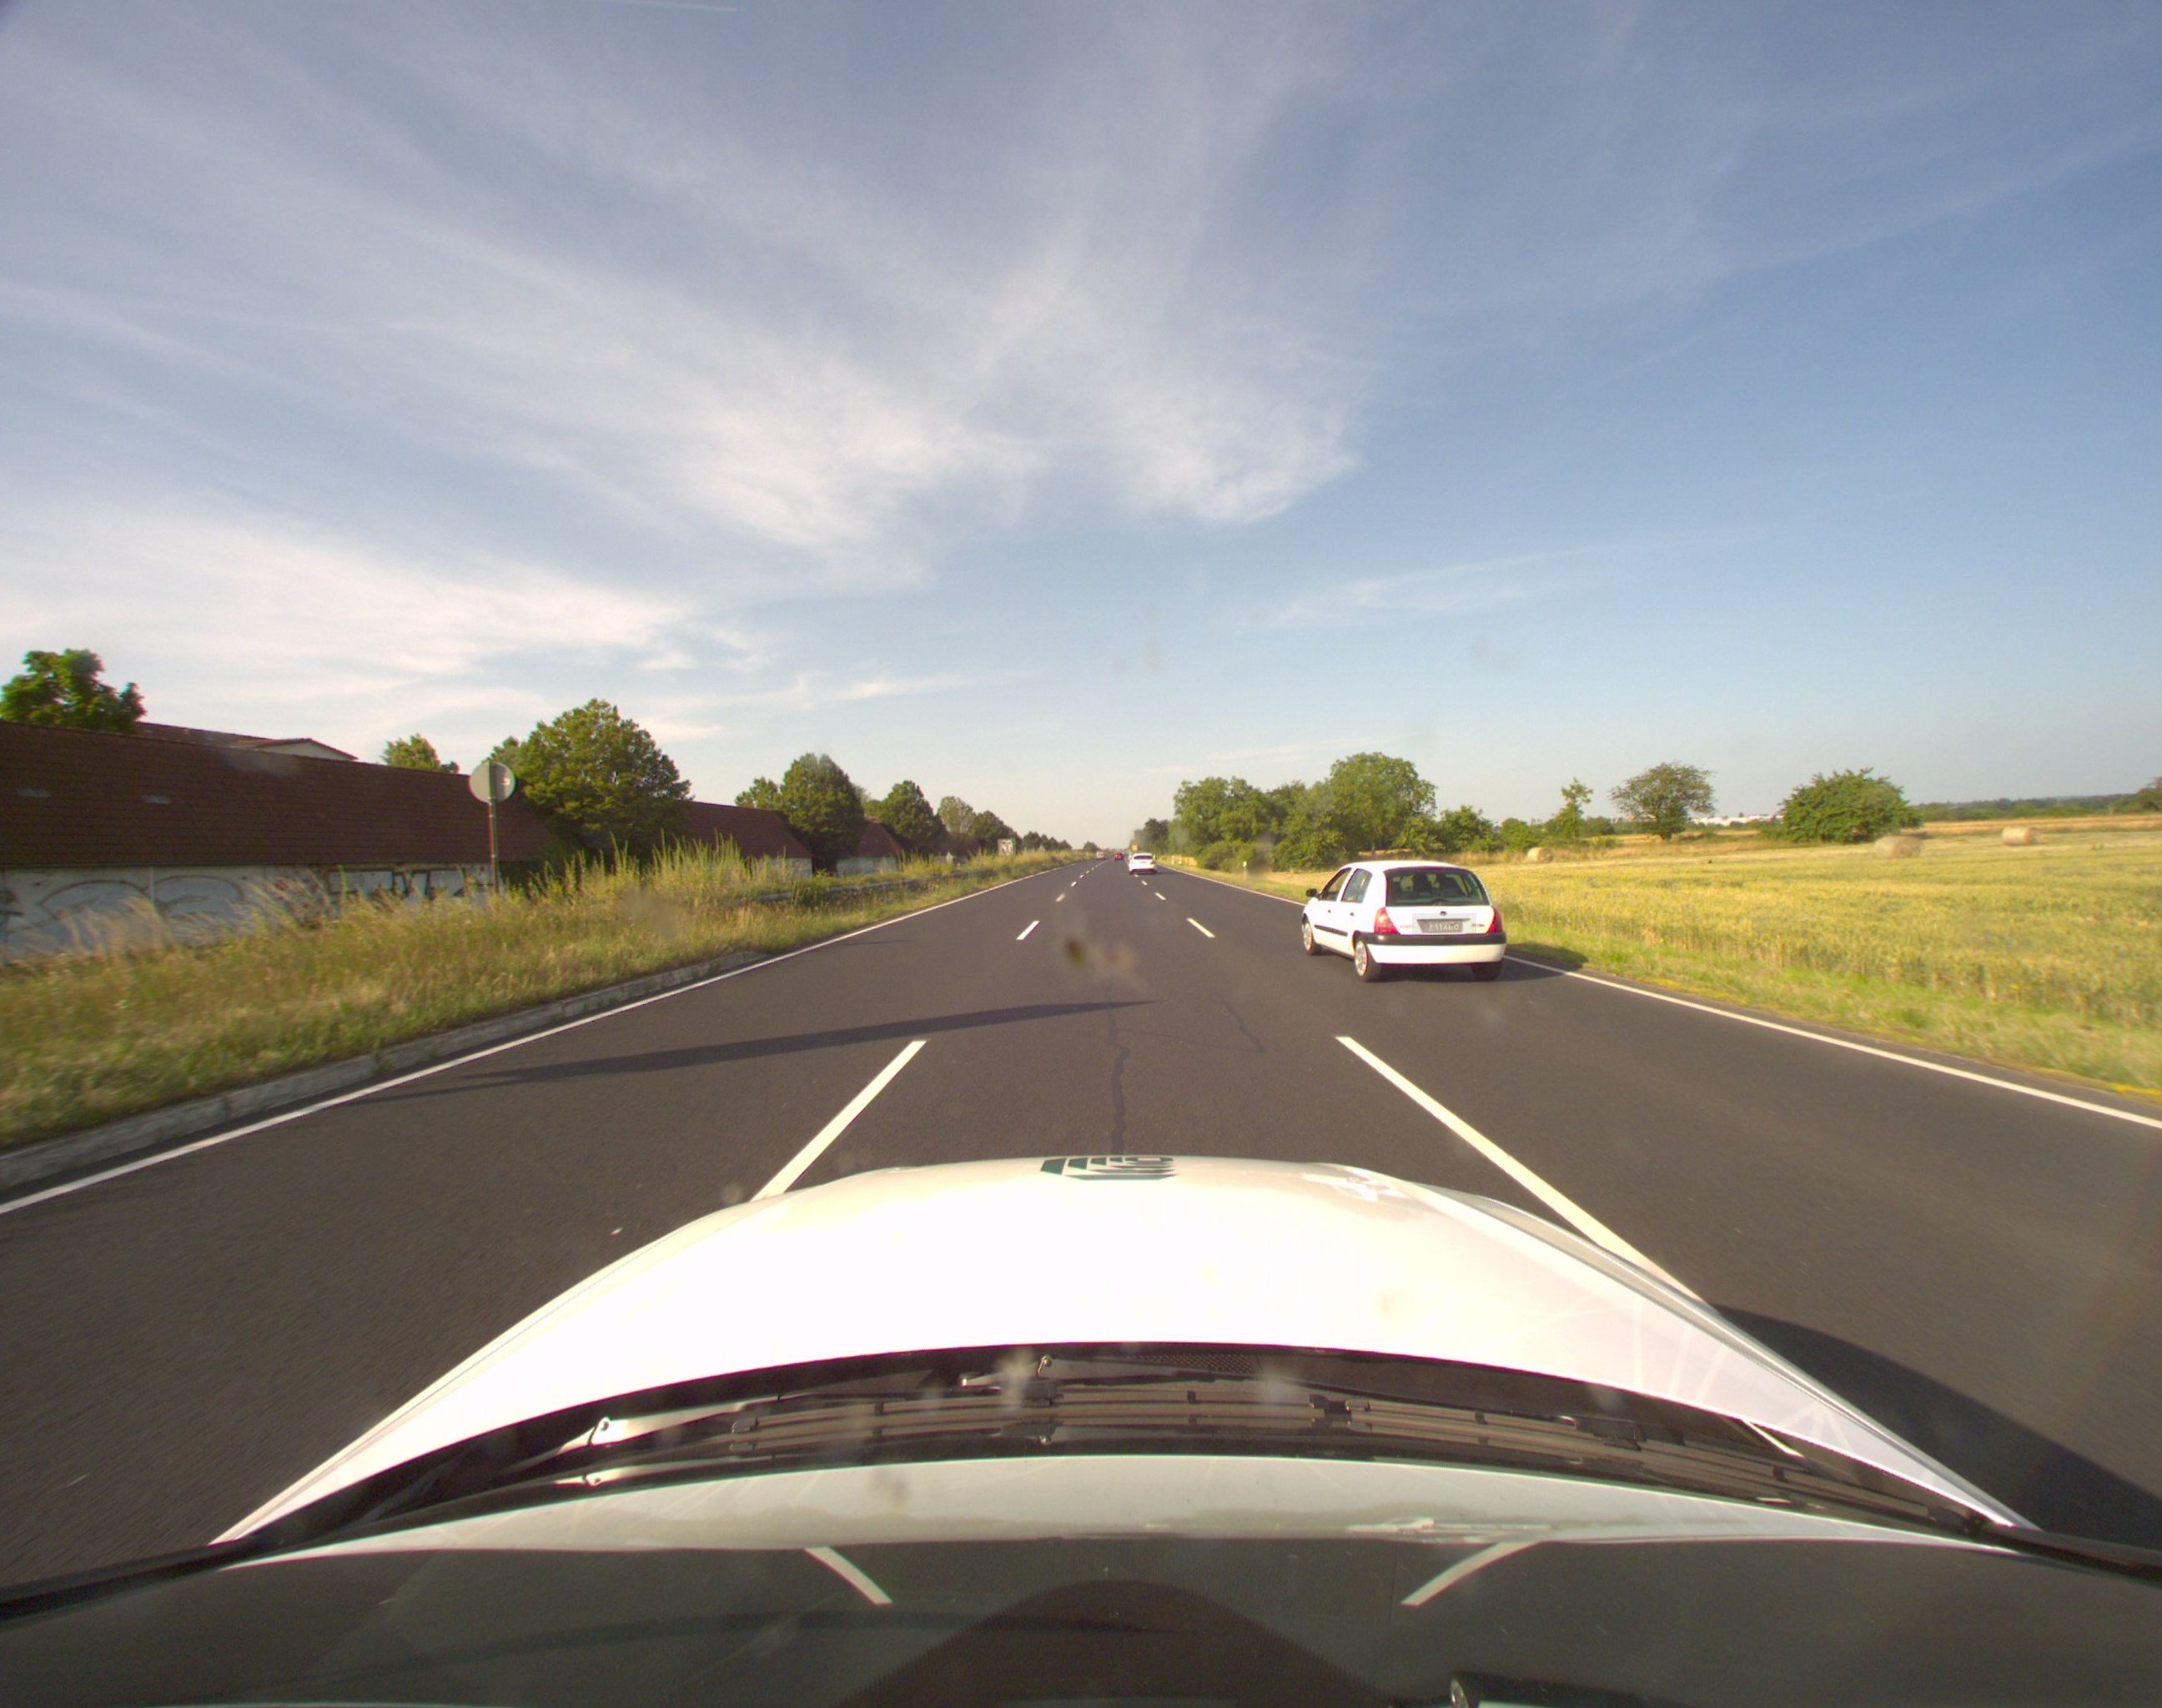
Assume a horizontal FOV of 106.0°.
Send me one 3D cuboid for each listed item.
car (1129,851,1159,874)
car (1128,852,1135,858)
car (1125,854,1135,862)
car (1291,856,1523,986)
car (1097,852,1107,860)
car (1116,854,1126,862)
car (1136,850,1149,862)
[{"bbox_3d":[4.297,0.577,56.070,1.985,1.516,4.003,-1,-1,3],"label":"car"},{"bbox_3d":[13.651,0.283,220.817,1.762,1.684,4.004,-1,-1,3],"label":"car"},{"bbox_3d":[9.890,0.808,164.405,1.826,1.717,3.865,-1,-1,3],"label":"car"},{"bbox_3d":[4.024,0.749,10.776,1.611,1.387,3.953,-1,-1,2],"label":"car"},{"bbox_3d":[4.335,0.442,169.598,1.750,1.618,4.005,-1,-1,4],"label":"car"},{"bbox_3d":[7.429,0.749,152.499,1.805,1.436,3.860,-1,-1,2],"label":"car"},{"bbox_3d":[9.611,0.331,127.612,1.820,1.728,4.002,-1,-1,2],"label":"car"}]
